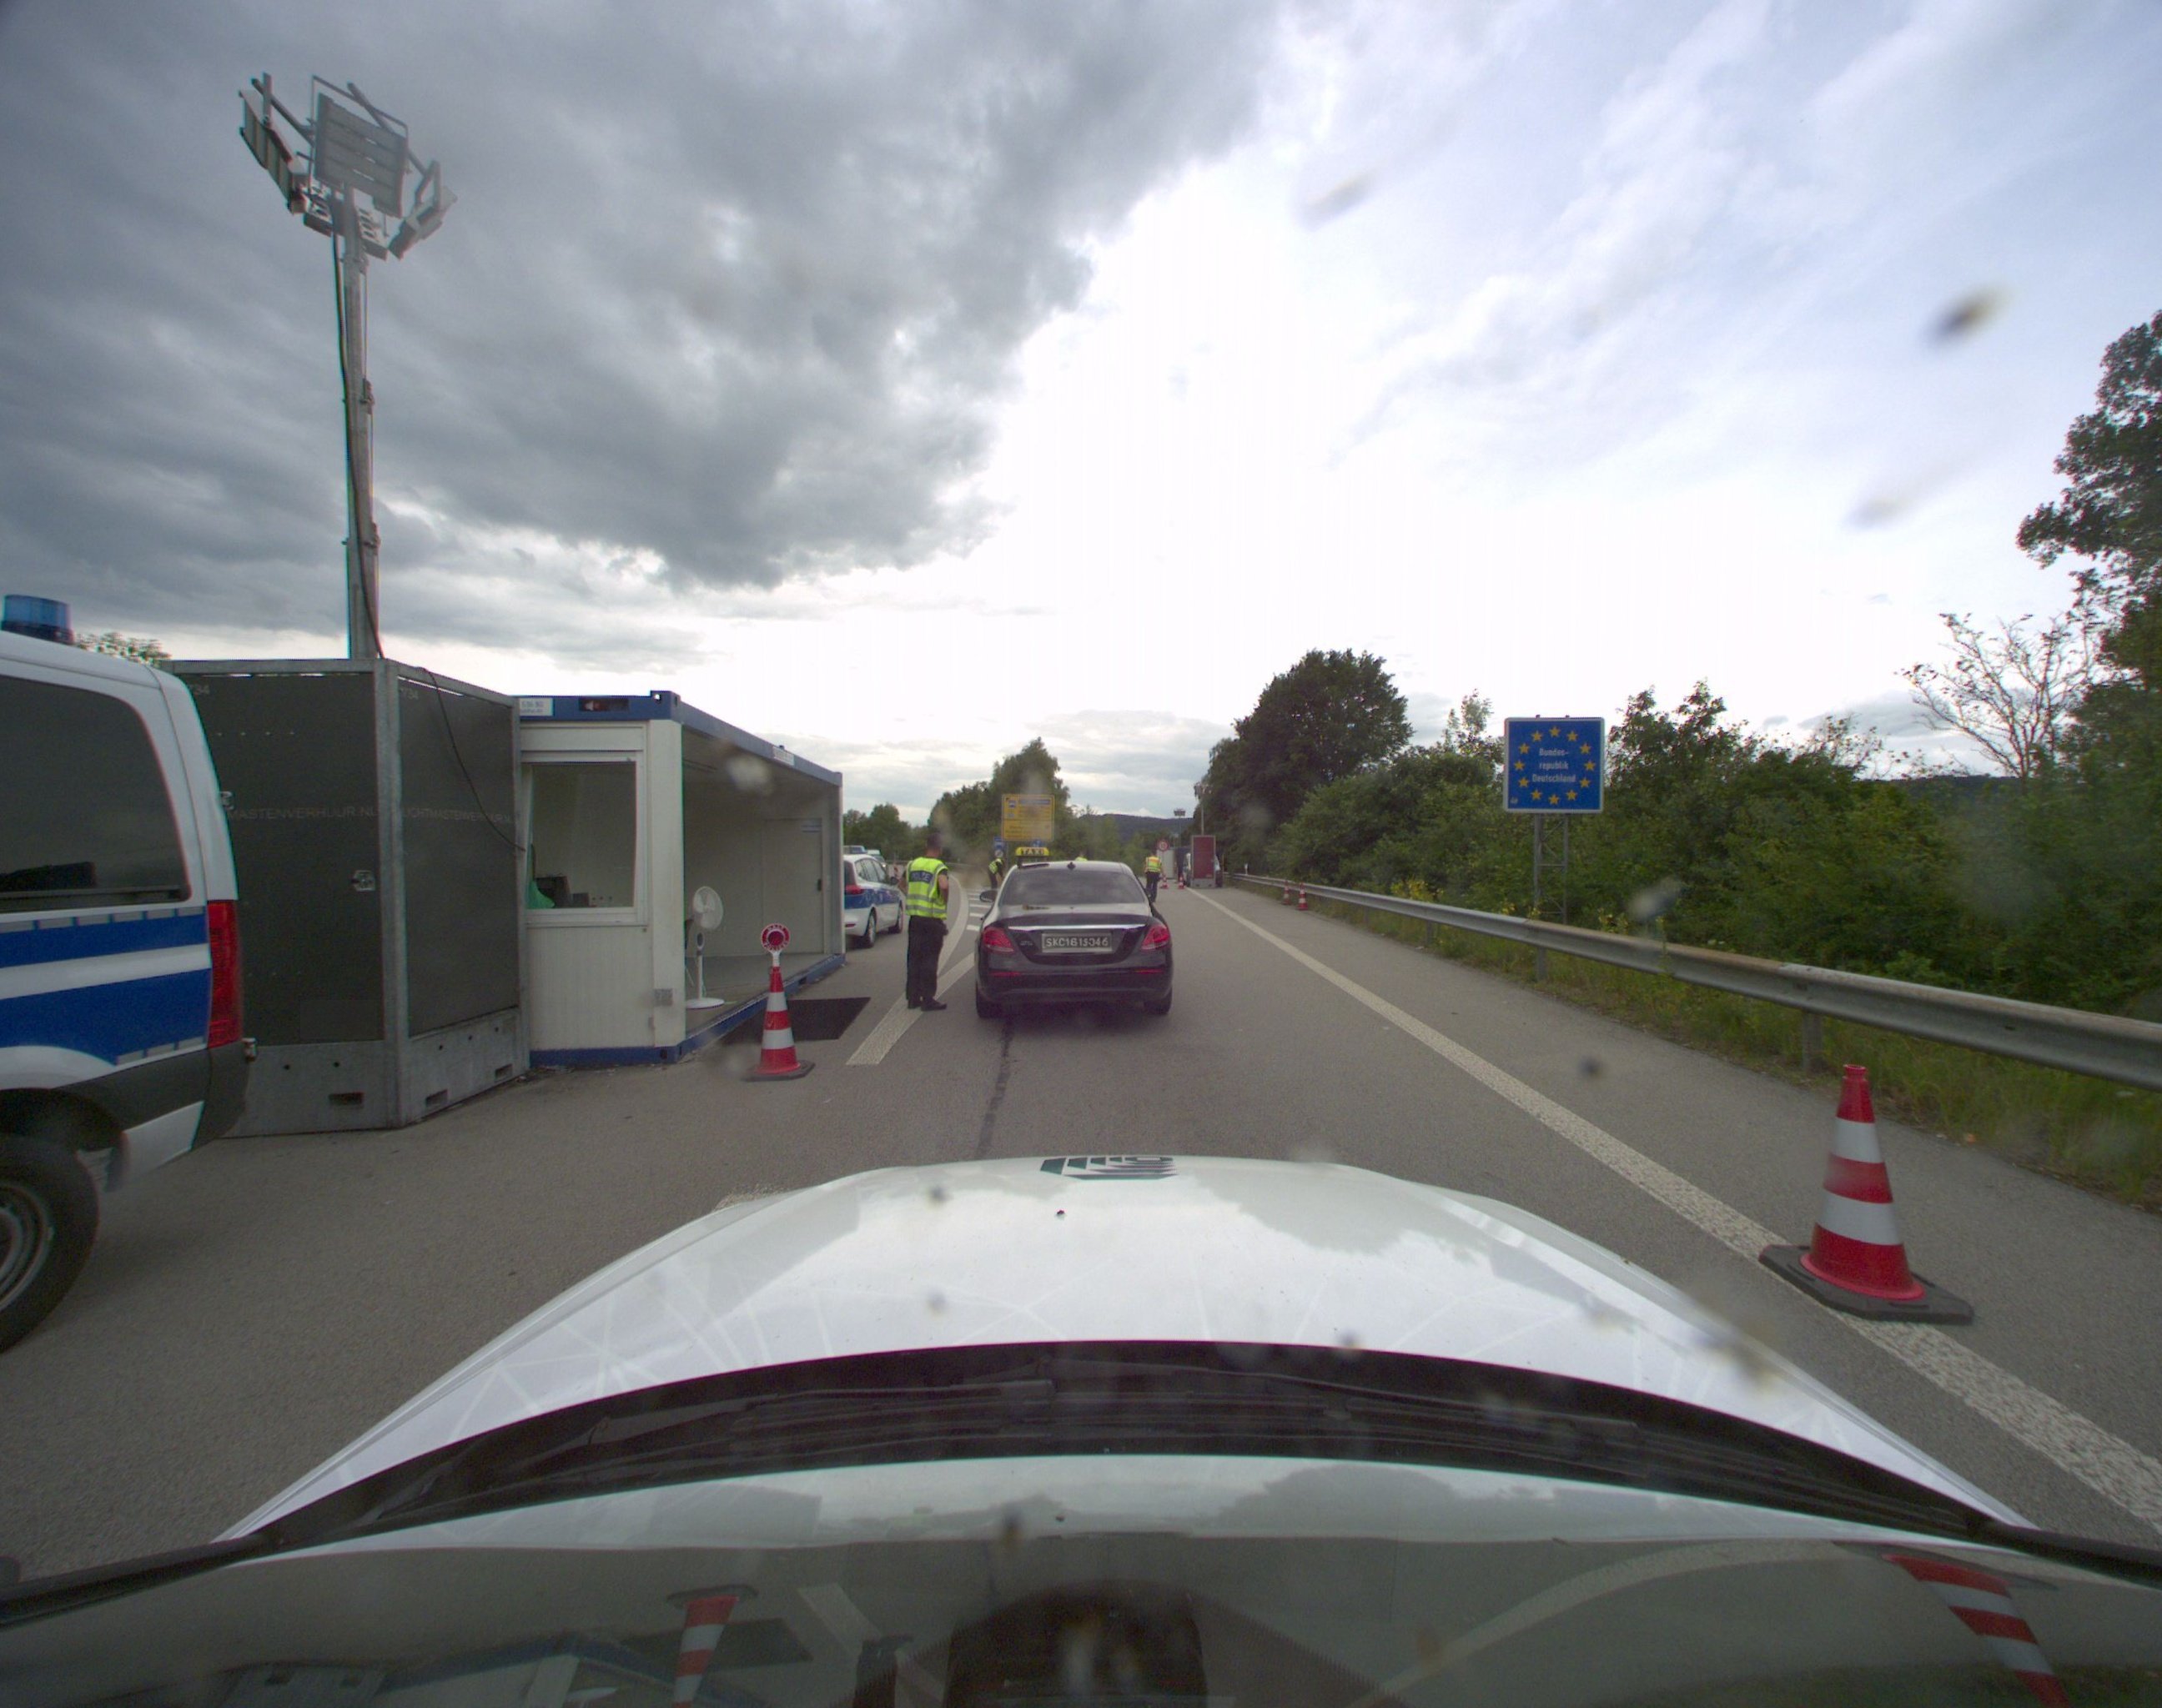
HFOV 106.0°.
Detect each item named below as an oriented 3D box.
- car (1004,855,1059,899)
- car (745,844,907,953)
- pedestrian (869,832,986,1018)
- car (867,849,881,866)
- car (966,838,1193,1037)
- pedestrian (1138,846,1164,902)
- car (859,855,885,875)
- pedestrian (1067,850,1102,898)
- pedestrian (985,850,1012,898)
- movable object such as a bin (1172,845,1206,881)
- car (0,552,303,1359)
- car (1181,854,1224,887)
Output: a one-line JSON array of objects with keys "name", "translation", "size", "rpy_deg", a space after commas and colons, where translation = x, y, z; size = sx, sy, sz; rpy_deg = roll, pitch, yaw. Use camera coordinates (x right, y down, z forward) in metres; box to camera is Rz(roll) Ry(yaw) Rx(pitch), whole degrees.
[{"name": "car", "translation": [-1.811, 0.819, 30.893], "size": [1.850, 1.498, 4.255], "rpy_deg": [-1, 0, -1]}, {"name": "car", "translation": [-4.547, 0.721, 15.171], "size": [1.864, 1.743, 4.005], "rpy_deg": [-1, 0, -2]}, {"name": "pedestrian", "translation": [-1.526, 0.662, 8.119], "size": [0.752, 1.718, 0.823], "rpy_deg": [-2, -1, 39]}, {"name": "car", "translation": [-28.191, 0.439, 111.101], "size": [1.858, 2.222, 4.236], "rpy_deg": [-1, 0, -14]}, {"name": "car", "translation": [-0.107, 0.687, 8.897], "size": [1.851, 1.595, 4.371], "rpy_deg": [-1, 0, -3]}, {"name": "pedestrian", "translation": [2.360, 0.674, 27.445], "size": [0.809, 1.830, 0.810], "rpy_deg": [-1, -1, 1]}, {"name": "car", "translation": [-17.036, 0.879, 66.576], "size": [1.857, 1.498, 4.238], "rpy_deg": [-1, 0, -13]}, {"name": "pedestrian", "translation": [0.123, 0.700, 29.612], "size": [0.914, 1.698, 0.905], "rpy_deg": [0, -1, -30]}, {"name": "pedestrian", "translation": [-3.128, 0.754, 30.924], "size": [0.908, 1.769, 0.911], "rpy_deg": [-1, 0, -1]}, {"name": "movable object such as a bin", "translation": [7.198, 0.600, 54.549], "size": [1.984, 2.280, 4.172], "rpy_deg": [-1, 0, 4]}, {"name": "car", "translation": [-4.272, 0.313, 0.795], "size": [2.023, 2.463, 5.276], "rpy_deg": [-1, 0, -2]}, {"name": "car", "translation": [6.755, 0.875, 45.708], "size": [1.908, 1.678, 5.087], "rpy_deg": [1, 0, 3]}]
